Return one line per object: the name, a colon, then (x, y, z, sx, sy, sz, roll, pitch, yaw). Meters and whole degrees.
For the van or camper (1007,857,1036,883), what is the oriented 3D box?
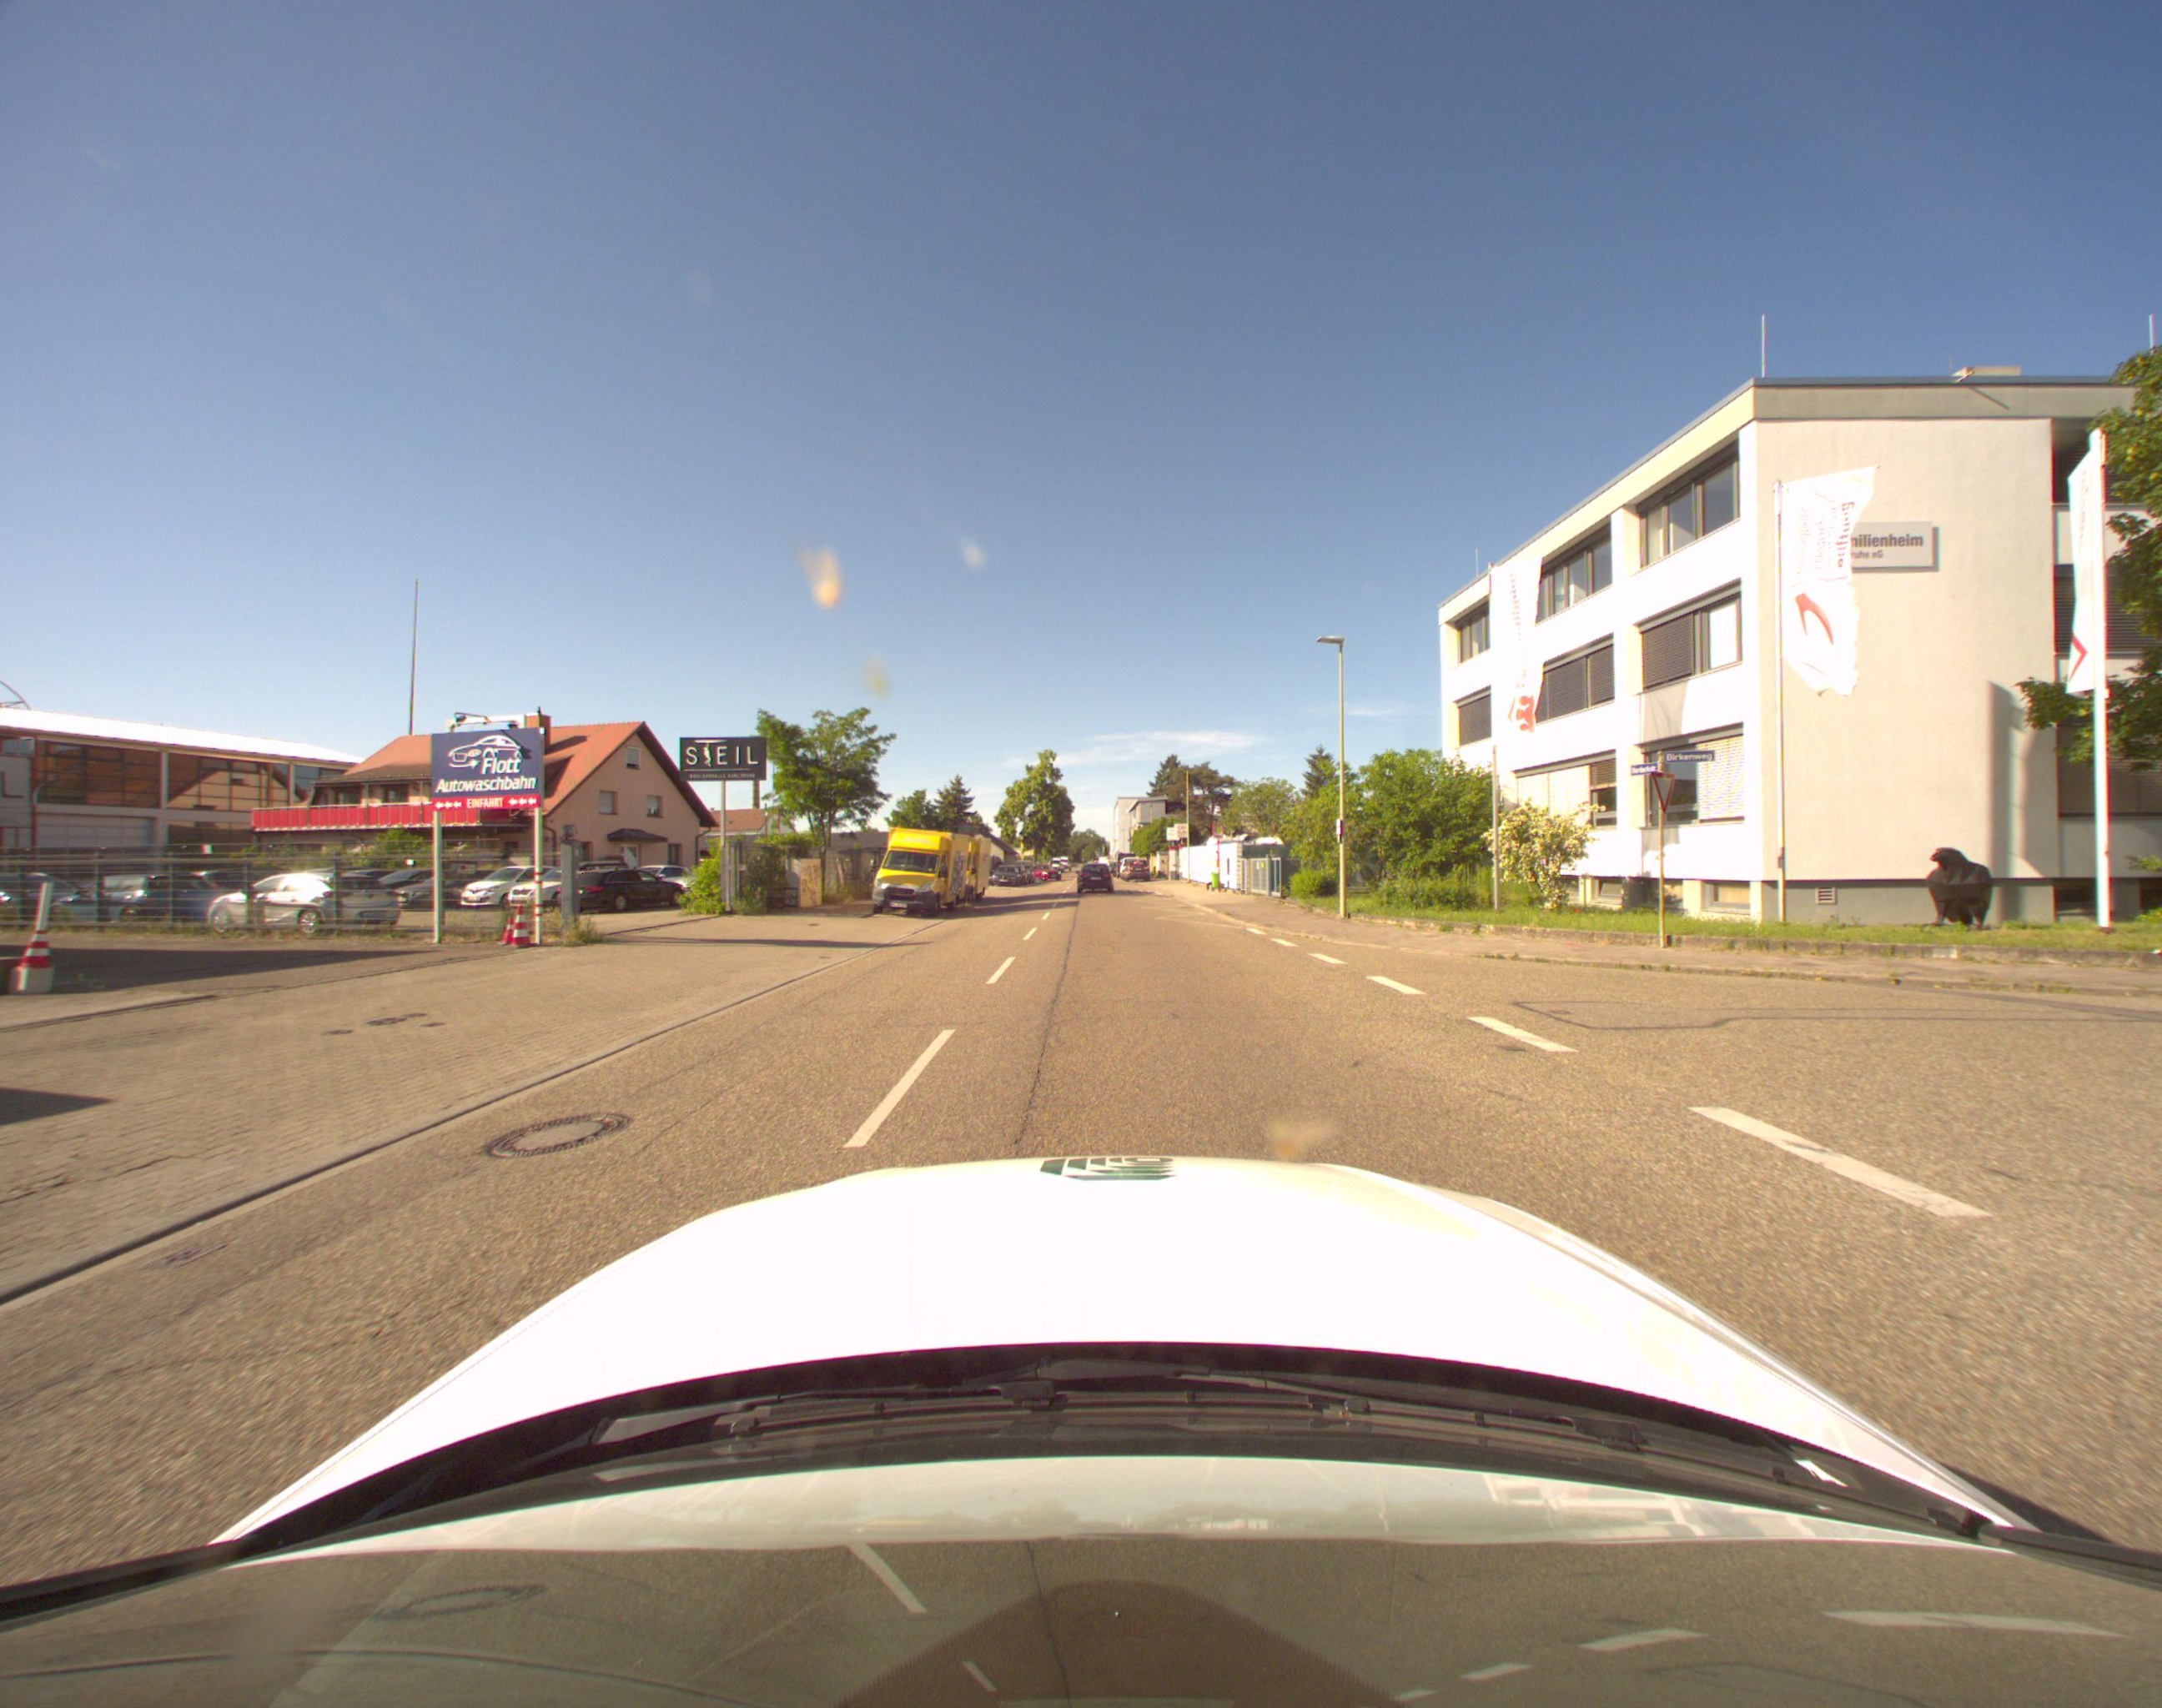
van or camper: (-4.773, 1.285, 65.976, 1.883, 1.926, 4.267, -1, -1, 2)

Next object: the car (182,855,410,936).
car: (-18.601, 0.947, 19.376, 4.062, 1.792, 1.851, -1, 0, 10)

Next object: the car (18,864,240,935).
car: (-24.085, 1.117, 20.664, 4.062, 1.658, 1.851, -1, 0, 10)

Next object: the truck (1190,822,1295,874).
truck: (12.142, -0.445, 61.640, 7.358, 3.771, 2.829, 0, -1, -4)

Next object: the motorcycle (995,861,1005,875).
motorcycle: (-8.329, 1.467, 83.974, 0.774, 1.445, 2.038, -1, 0, 1)

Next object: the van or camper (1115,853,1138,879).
van or camper: (4.243, 1.110, 76.947, 1.987, 2.310, 4.000, 0, -1, 1)

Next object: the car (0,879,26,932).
car: (-32.701, 1.480, 23.147, 3.848, 1.491, 1.840, -1, -1, 13)

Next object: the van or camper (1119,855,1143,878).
van or camper: (4.387, 1.081, 71.978, 1.912, 2.019, 4.080, 0, 0, 1)

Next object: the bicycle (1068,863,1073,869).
bicycle: (-1.794, 2.128, 144.401, 0.826, 1.153, 2.939, -1, 0, -1)

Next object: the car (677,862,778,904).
car: (-14.400, 1.148, 33.429, 1.682, 1.578, 4.060, -1, 0, 14)

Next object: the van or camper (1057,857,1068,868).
van or camper: (-4.338, 1.939, 187.722, 2.318, 2.362, 6.520, 0, 0, -3)

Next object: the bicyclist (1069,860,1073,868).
bicyclist: (-1.785, 1.761, 144.340, 0.693, 1.539, 0.634, -1, -1, -2)

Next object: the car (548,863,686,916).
car: (-15.613, 1.140, 27.653, 1.682, 1.578, 4.060, -1, 0, 14)

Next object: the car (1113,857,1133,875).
car: (4.310, 1.225, 84.277, 1.912, 1.825, 4.080, 0, 0, 1)

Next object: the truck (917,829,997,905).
truck: (-5.164, 0.526, 34.917, 2.184, 2.902, 6.441, 1, 0, 2)

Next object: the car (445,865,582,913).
car: (-20.496, 1.226, 29.635, 1.682, 1.578, 3.933, -1, 0, 14)

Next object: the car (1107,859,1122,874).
car: (4.278, 1.566, 104.229, 1.912, 1.825, 4.080, 0, 0, 1)

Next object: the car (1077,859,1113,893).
car: (0.717, 1.034, 40.133, 1.705, 1.532, 3.689, -1, 0, 2)

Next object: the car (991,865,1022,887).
car: (-5.115, 1.509, 56.299, 1.752, 1.403, 4.555, -1, 0, -1)

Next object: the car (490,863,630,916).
car: (-18.149, 1.182, 28.620, 1.682, 1.661, 4.060, -1, 0, 14)

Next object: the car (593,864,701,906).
car: (-18.009, 1.245, 34.007, 1.682, 1.578, 4.060, -1, 0, 14)

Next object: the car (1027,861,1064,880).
car: (-3.144, 1.421, 71.461, 1.884, 1.485, 4.013, -2, 0, -23)

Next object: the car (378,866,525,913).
car: (-22.894, 1.241, 29.835, 1.682, 1.578, 4.060, -1, 0, 14)

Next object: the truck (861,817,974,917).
truck: (-5.391, 0.427, 27.973, 2.394, 2.983, 6.374, 1, -1, 1)

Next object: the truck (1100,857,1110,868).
truck: (4.949, 1.745, 170.953, 1.986, 2.288, 6.956, 0, 0, 1)

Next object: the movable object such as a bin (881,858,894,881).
movable object such as a bin: (-11.319, 0.899, 47.617, 0.583, 1.340, 0.549, -1, -1, 0)

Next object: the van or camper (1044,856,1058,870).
van or camper: (-5.085, 1.495, 138.342, 2.318, 2.362, 6.520, 0, 0, -3)

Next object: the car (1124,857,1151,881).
car: (4.509, 1.169, 65.279, 1.912, 1.825, 4.080, 0, 0, 1)
